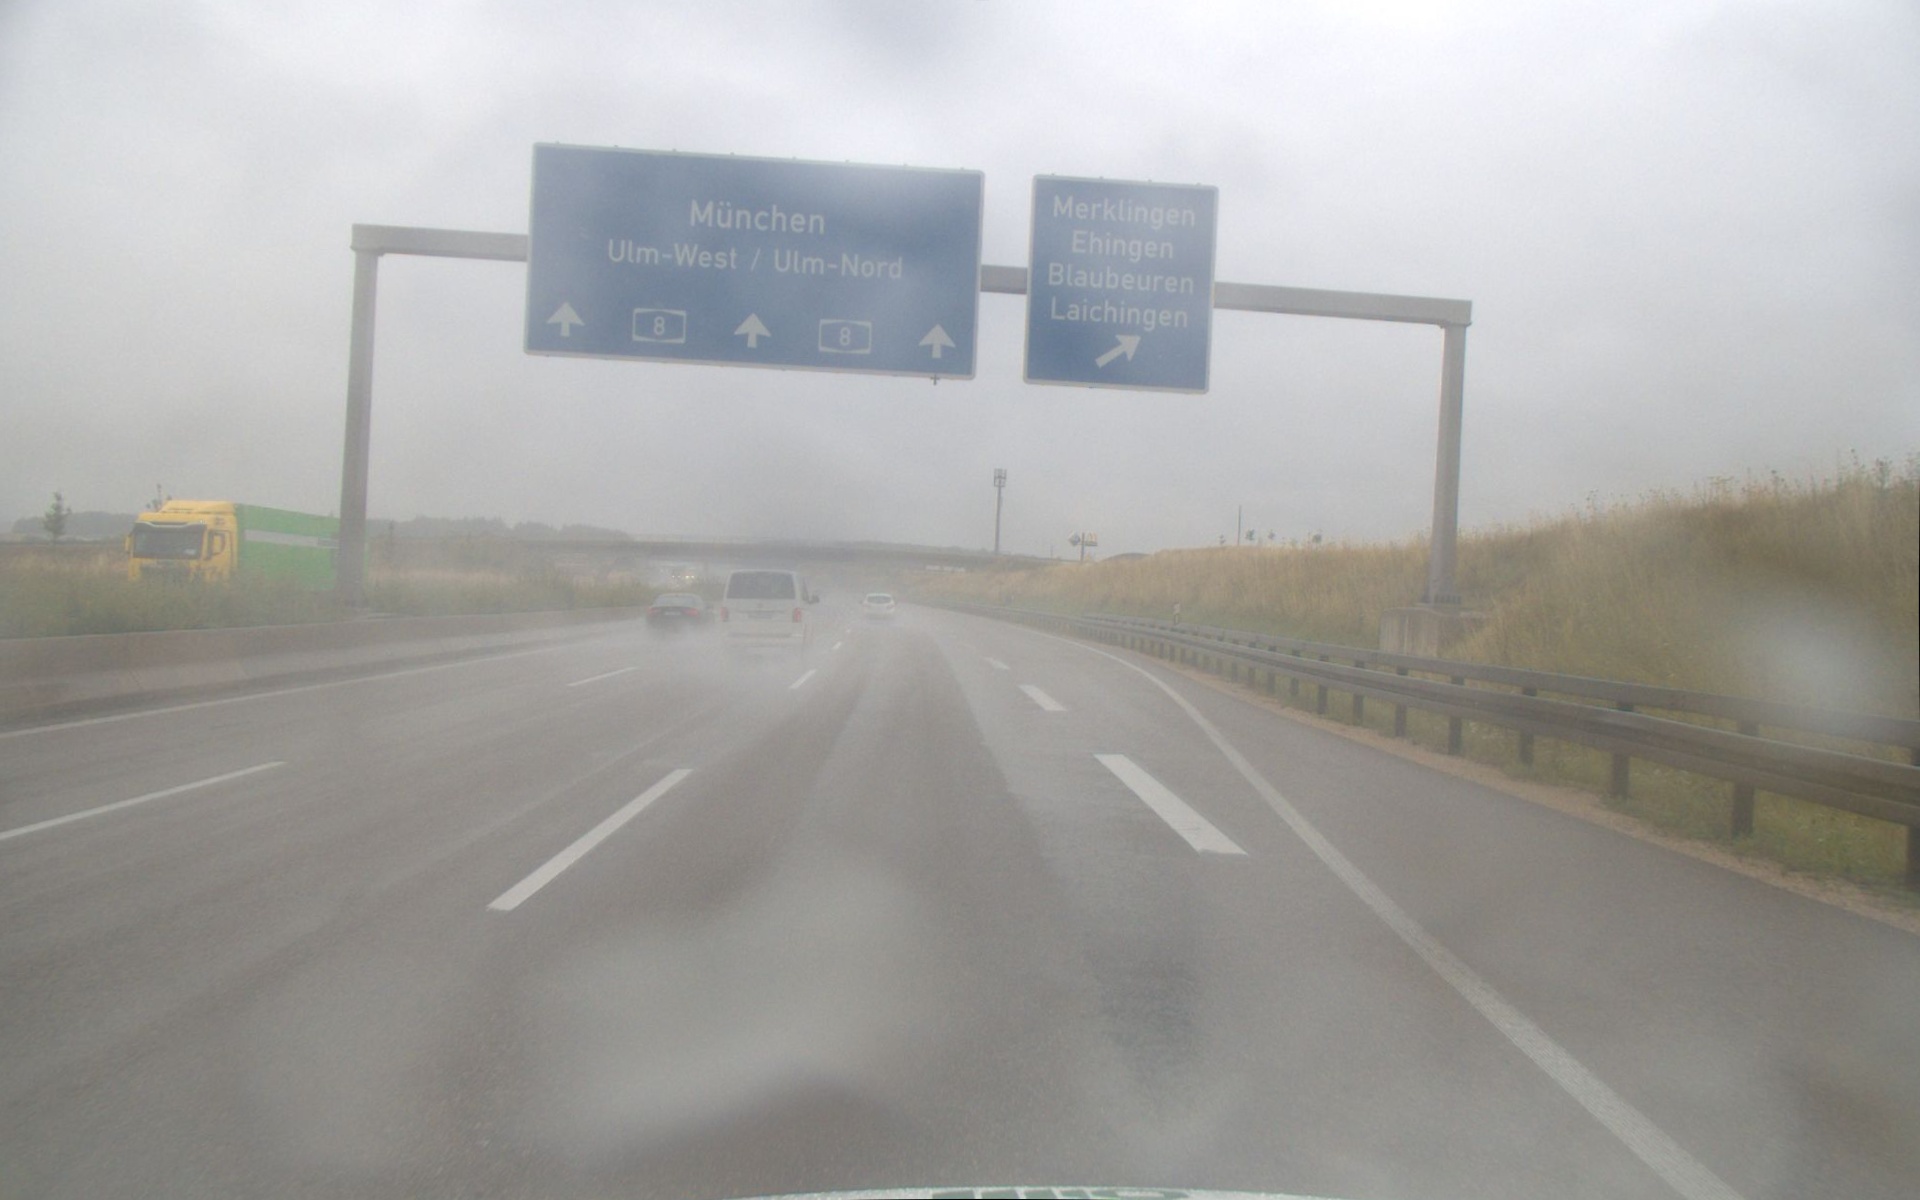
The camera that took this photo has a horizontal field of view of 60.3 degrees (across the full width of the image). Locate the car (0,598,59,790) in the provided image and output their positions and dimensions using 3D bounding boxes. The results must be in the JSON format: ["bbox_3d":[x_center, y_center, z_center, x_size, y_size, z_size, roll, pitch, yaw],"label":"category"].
[{"bbox_3d":[-7.660,0.677,10.694,1.580,1.378,3.998,1,0,-2],"label":"car"}]

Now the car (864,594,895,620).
[{"bbox_3d":[-3.963,0.317,81.387,1.439,1.229,2.989,1,0,-4],"label":"car"}]

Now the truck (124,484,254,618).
[{"bbox_3d":[-24.511,-1.508,52.760,1.969,4.061,4.818,1,0,-2],"label":"truck"}]

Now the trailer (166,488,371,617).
[{"bbox_3d":[-24.795,-1.555,60.377,1.953,4.110,14.296,1,0,-2],"label":"trailer"}]

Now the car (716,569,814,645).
[{"bbox_3d":[-4.370,0.150,37.606,1.859,1.613,3.998,1,0,-2],"label":"car"}]

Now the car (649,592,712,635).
[{"bbox_3d":[-8.633,0.398,51.275,1.438,1.279,3.339,1,0,-1],"label":"car"}]
